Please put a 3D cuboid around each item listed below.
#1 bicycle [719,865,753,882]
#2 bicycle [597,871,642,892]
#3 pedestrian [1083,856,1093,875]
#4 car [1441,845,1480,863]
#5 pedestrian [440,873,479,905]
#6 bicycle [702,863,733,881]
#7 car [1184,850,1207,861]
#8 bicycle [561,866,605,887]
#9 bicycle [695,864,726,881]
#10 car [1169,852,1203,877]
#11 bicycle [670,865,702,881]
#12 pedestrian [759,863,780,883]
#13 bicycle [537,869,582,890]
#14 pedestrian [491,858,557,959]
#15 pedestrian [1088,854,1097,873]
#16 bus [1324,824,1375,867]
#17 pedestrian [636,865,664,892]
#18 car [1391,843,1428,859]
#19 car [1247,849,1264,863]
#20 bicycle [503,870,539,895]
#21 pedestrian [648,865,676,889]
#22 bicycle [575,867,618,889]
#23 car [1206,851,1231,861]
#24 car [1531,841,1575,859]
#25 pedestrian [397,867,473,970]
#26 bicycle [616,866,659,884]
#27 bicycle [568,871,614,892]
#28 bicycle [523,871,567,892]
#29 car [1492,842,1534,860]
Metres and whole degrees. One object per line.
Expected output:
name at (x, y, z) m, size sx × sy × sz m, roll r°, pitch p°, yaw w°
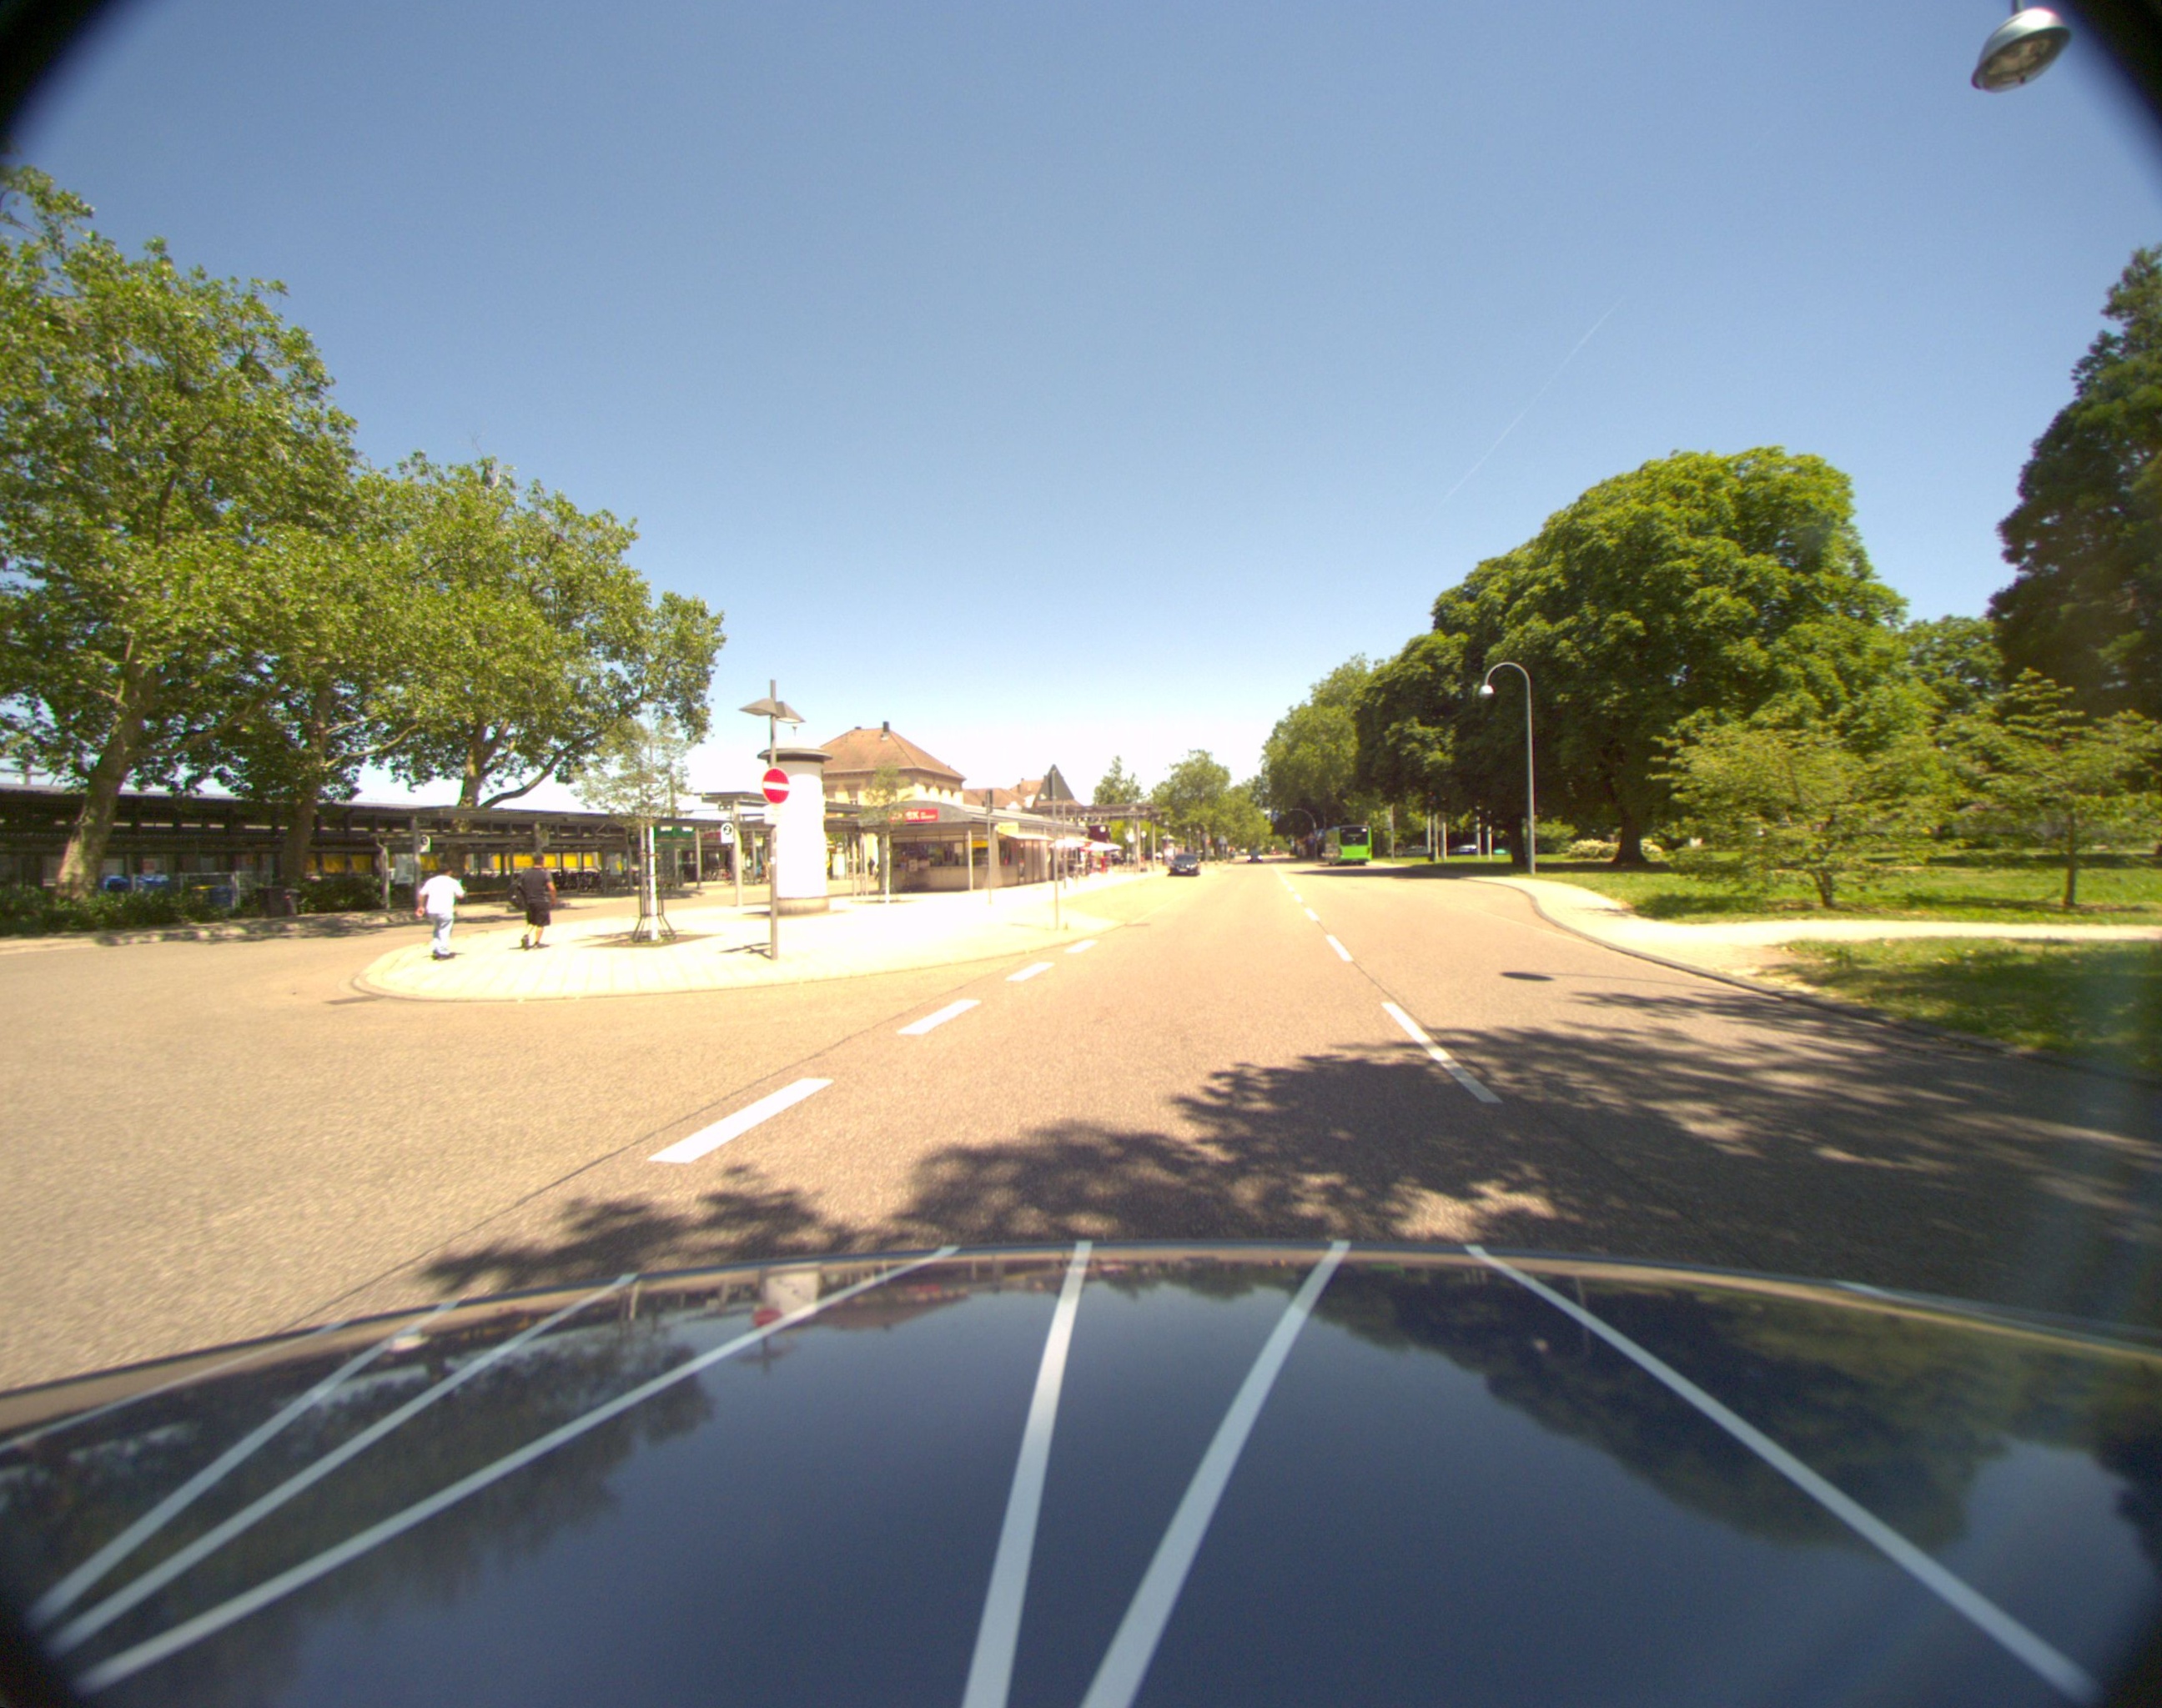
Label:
bicycle at (-23.562, 1.320, 51.885) m, size 2.165 × 1.068 × 0.671 m, roll 1°, pitch 4°, yaw 18°
bicycle at (-25.563, 1.504, 42.102) m, size 2.166 × 1.068 × 0.670 m, roll 0°, pitch 4°, yaw 11°
pedestrian at (0.470, 0.757, 49.930) m, size 0.489 × 1.204 × 0.472 m, roll -1°, pitch 1°, yaw 20°
car at (46.410, -0.009, 92.960) m, size 3.992 × 2.002 × 2.002 m, roll -2°, pitch 0°, yaw 16°
pedestrian at (-25.620, 1.427, 31.330) m, size 0.829 × 1.267 × 0.869 m, roll -1°, pitch 1°, yaw 10°
bicycle at (-25.892, 1.268, 54.188) m, size 0.669 × 1.068 × 2.171 m, roll 1°, pitch 4°, yaw 17°
car at (20.123, 0.267, 133.974) m, size 3.995 × 1.655 × 2.001 m, roll -2°, pitch 0°, yaw 7°
bicycle at (-29.244, 1.305, 44.622) m, size 0.669 × 1.068 × 2.171 m, roll 1°, pitch 4°, yaw 17°
bicycle at (-26.552, 1.308, 54.473) m, size 0.669 × 1.068 × 2.171 m, roll 1°, pitch 4°, yaw 17°
car at (6.995, 0.686, 50.473) m, size 1.776 × 1.536 × 4.187 m, roll 0°, pitch 1°, yaw 14°
bicycle at (-28.247, 1.346, 54.351) m, size 2.165 × 1.068 × 0.671 m, roll 1°, pitch 4°, yaw 18°
pedestrian at (-20.856, 1.281, 50.905) m, size 0.961 × 1.297 × 0.832 m, roll -1°, pitch 1°, yaw 15°
bicycle at (-30.882, 1.487, 45.040) m, size 0.669 × 1.068 × 2.171 m, roll 1°, pitch 4°, yaw 17°
pedestrian at (-10.384, 0.987, 14.198) m, size 0.916 × 1.774 × 0.693 m, roll -2°, pitch 1°, yaw -34°
pedestrian at (0.768, 0.605, 50.271) m, size 0.503 × 1.225 × 0.513 m, roll -2°, pitch 1°, yaw 8°
bus at (23.085, -0.721, 65.816) m, size 2.811 × 3.283 × 11.869 m, roll -2°, pitch 0°, yaw 13°
pedestrian at (-23.265, 1.324, 41.018) m, size 0.961 × 1.378 × 0.832 m, roll -1°, pitch 1°, yaw 15°
car at (41.029, -0.365, 94.980) m, size 3.992 × 1.793 × 2.002 m, roll -2°, pitch 0°, yaw 16°
car at (19.967, 0.197, 86.978) m, size 1.776 × 1.536 × 4.187 m, roll 0°, pitch 1°, yaw 14°
bicycle at (-29.172, 1.452, 39.632) m, size 0.671 × 1.068 × 2.165 m, roll -2°, pitch 4°, yaw -14°
pedestrian at (-23.102, 1.277, 41.905) m, size 0.961 × 1.297 × 0.832 m, roll -1°, pitch 1°, yaw 15°
bicycle at (-28.229, 1.390, 44.302) m, size 0.669 × 1.068 × 2.171 m, roll 1°, pitch 4°, yaw 17°
car at (23.379, 0.325, 129.169) m, size 3.995 × 1.655 × 2.001 m, roll -2°, pitch 0°, yaw 7°
car at (56.418, -0.519, 90.856) m, size 3.993 × 2.002 × 2.002 m, roll -2°, pitch 0°, yaw 14°
pedestrian at (-11.426, 1.104, 13.472) m, size 0.916 × 1.726 × 0.674 m, roll -2°, pitch 1°, yaw -35°
bicycle at (-28.415, 1.349, 48.726) m, size 2.169 × 1.068 × 0.862 m, roll -1°, pitch 4°, yaw -4°
bicycle at (-26.044, 1.448, 40.384) m, size 2.166 × 1.068 × 0.670 m, roll 0°, pitch 4°, yaw 11°
bicycle at (-32.017, 1.627, 45.415) m, size 0.669 × 1.068 × 2.171 m, roll 1°, pitch 4°, yaw 17°
car at (52.160, -0.359, 91.770) m, size 3.993 × 2.002 × 2.002 m, roll -2°, pitch 0°, yaw 14°
